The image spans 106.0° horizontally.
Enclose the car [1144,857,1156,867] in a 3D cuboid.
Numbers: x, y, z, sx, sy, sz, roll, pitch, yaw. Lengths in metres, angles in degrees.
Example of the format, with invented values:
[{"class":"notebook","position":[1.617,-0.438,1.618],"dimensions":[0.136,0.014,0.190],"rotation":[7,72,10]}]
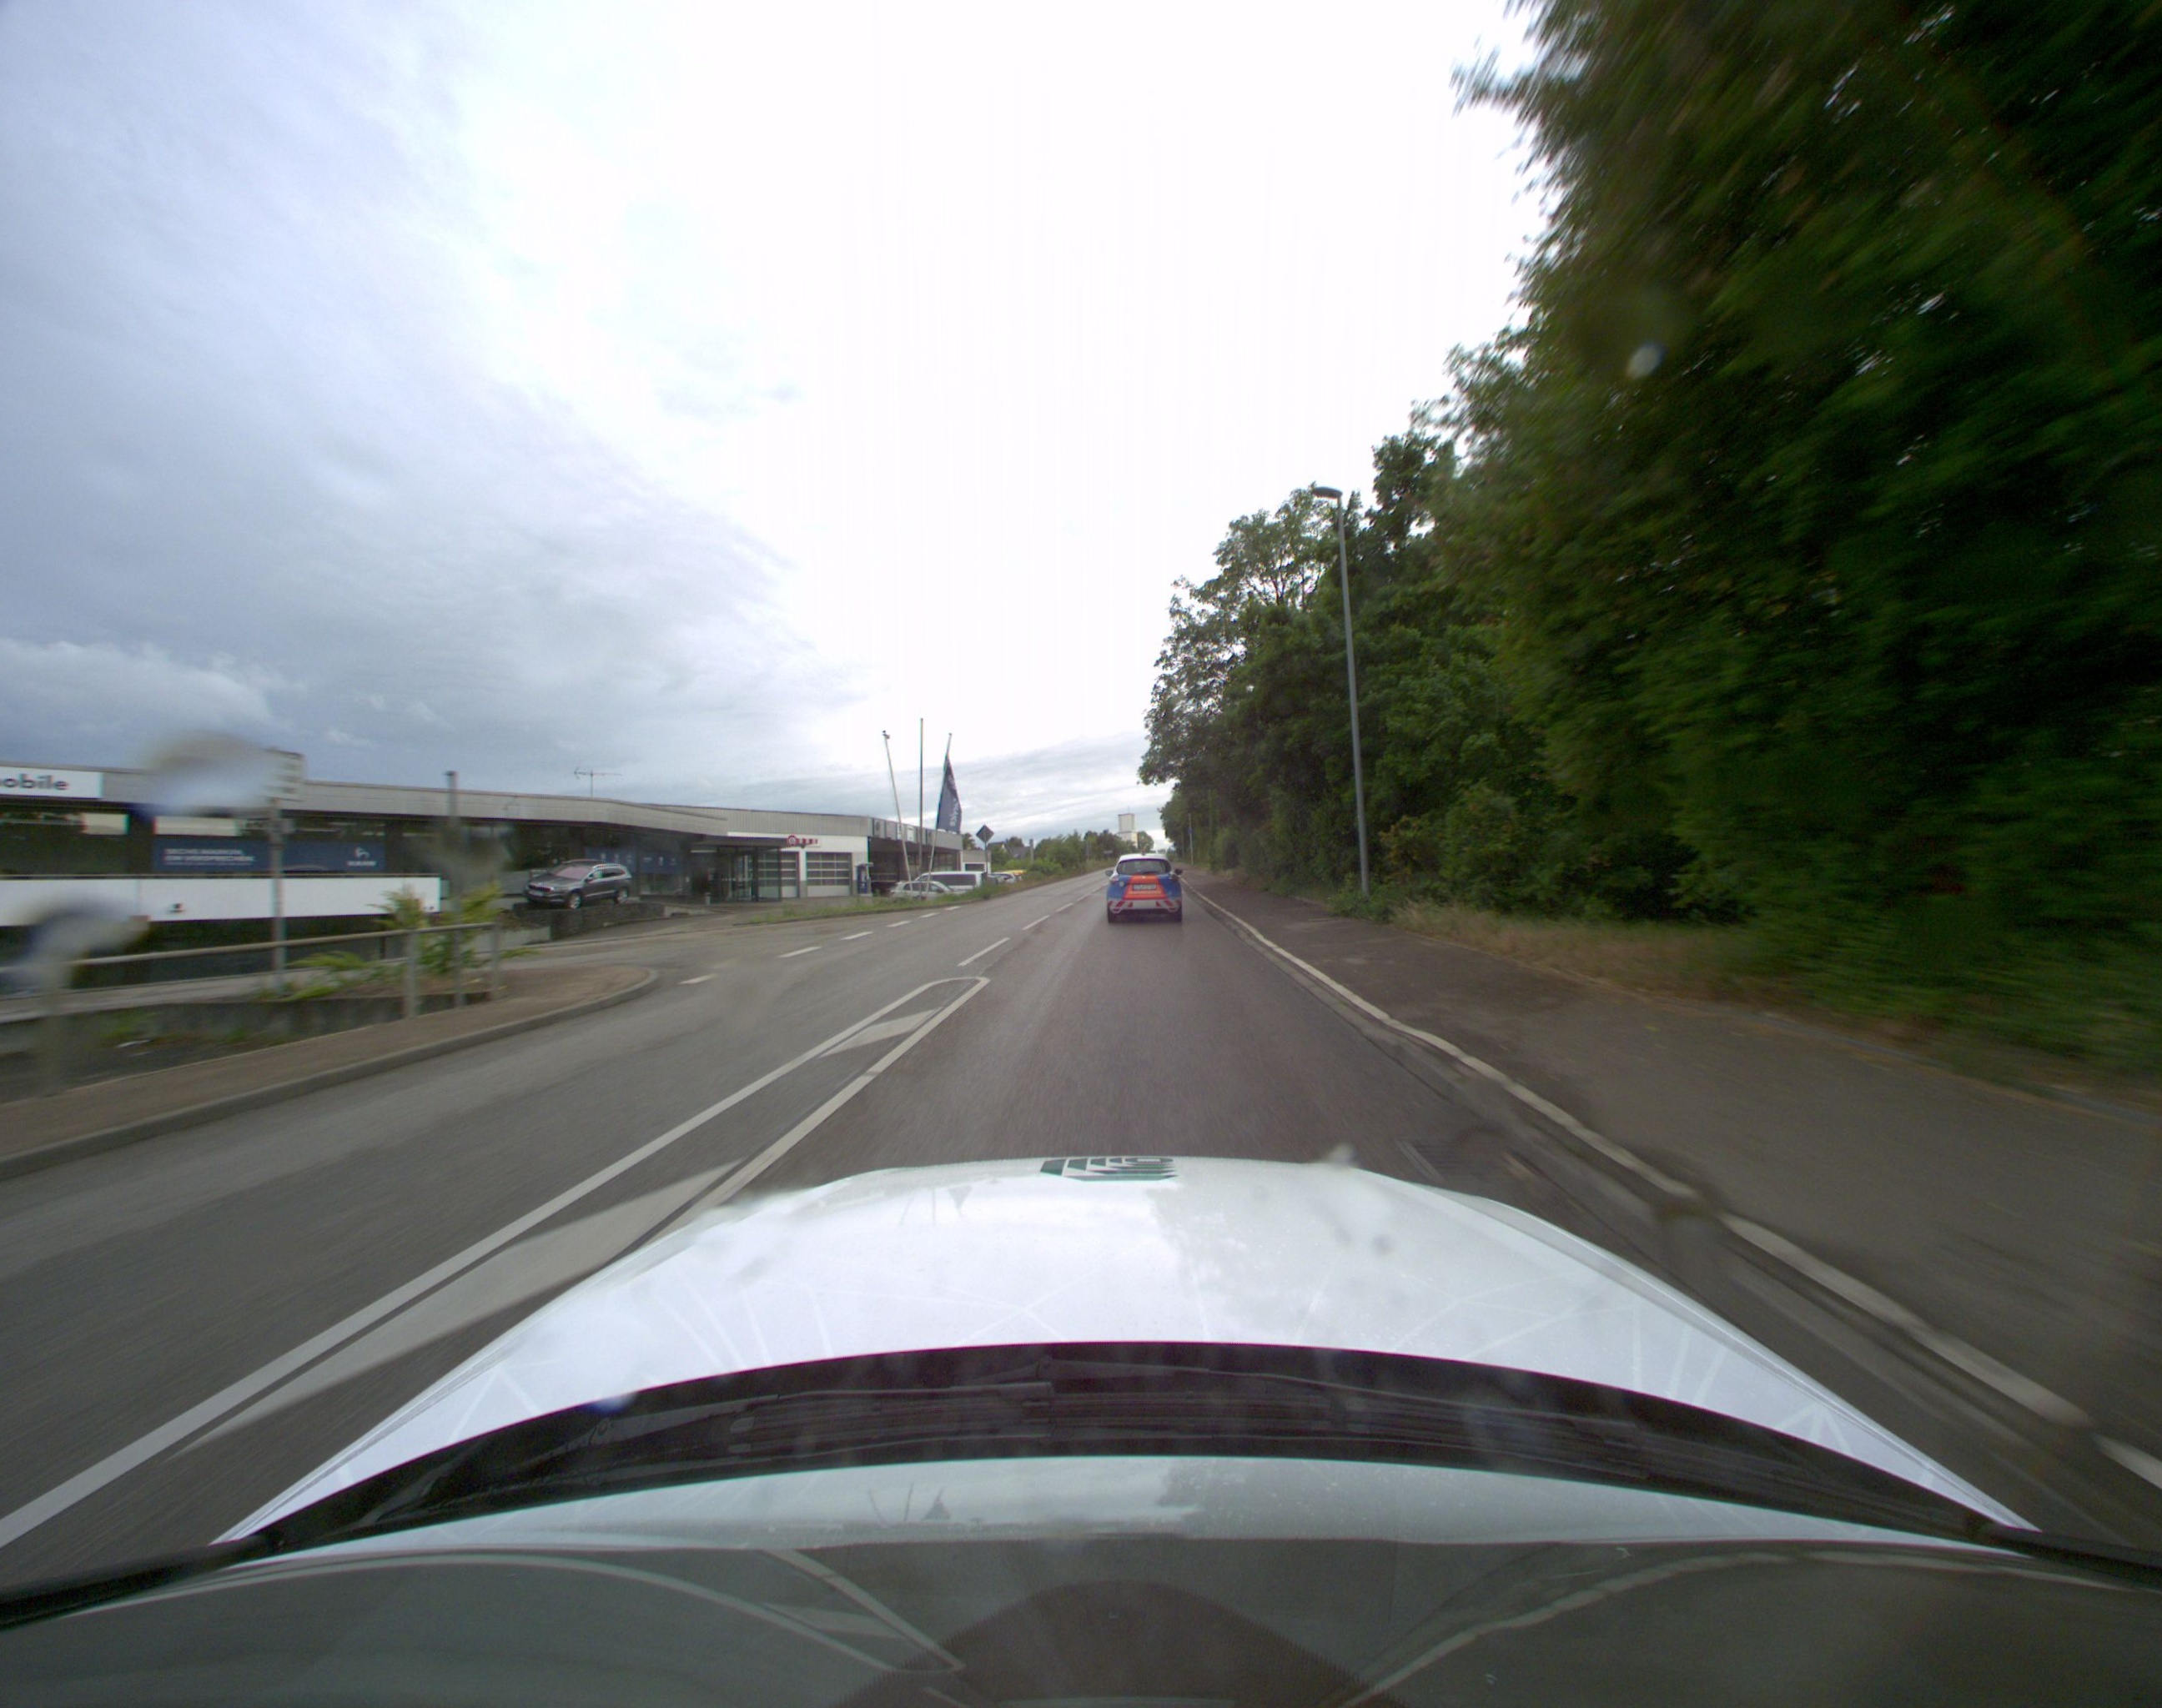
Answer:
[{"class":"car","position":[9.939,1.162,117.513],"dimensions":[1.608,1.407,3.499],"rotation":[-4,-1,3]}]

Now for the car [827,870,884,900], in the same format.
[{"class":"car","position":[-17.408,2.409,62.843],"dimensions":[4.427,1.960,2.001],"rotation":[-6,-3,40]}]

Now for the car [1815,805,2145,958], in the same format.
[{"class":"car","position":[10.053,0.239,9.111],"dimensions":[3.159,1.384,1.679],"rotation":[-3,0,-27]}]

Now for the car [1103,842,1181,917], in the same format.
[{"class":"car","position":[1.503,0.602,19.630],"dimensions":[1.649,1.593,3.573],"rotation":[-2,-1,5]}]

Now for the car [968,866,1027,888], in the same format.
[{"class":"car","position":[-6.094,1.672,59.885],"dimensions":[4.047,1.291,1.805],"rotation":[-3,0,1]}]

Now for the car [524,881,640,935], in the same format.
[{"class":"car","position":[-19.308,2.045,31.748],"dimensions":[1.392,1.800,4.260],"rotation":[-4,-1,7]}]

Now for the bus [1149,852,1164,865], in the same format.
[{"class":"bus","position":[20.909,1.293,225.591],"dimensions":[2.901,3.169,11.465],"rotation":[-4,-1,0]}]

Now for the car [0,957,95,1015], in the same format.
[{"class":"car","position":[-33.768,4.199,26.268],"dimensions":[4.052,1.428,1.902],"rotation":[-3,-1,31]}]

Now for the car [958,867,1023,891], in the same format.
[{"class":"car","position":[-6.341,1.750,57.186],"dimensions":[4.210,1.368,1.875],"rotation":[-3,0,1]}]

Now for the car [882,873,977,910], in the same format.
[{"class":"car","position":[-7.134,1.765,38.596],"dimensions":[3.992,1.478,1.825],"rotation":[-3,0,3]}]

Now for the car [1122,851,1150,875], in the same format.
[{"class":"car","position":[3.976,0.691,59.230],"dimensions":[1.796,1.590,3.563],"rotation":[-4,-1,1]}]

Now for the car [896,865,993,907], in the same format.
[{"class":"car","position":[-6.865,1.577,41.183],"dimensions":[4.393,1.798,1.936],"rotation":[-3,0,3]}]

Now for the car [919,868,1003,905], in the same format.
[{"class":"car","position":[-6.837,1.839,46.742],"dimensions":[4.396,1.798,2.003],"rotation":[-3,0,1]}]

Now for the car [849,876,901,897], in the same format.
[{"class":"car","position":[-16.269,2.551,64.254],"dimensions":[3.970,1.416,1.966],"rotation":[-3,0,39]}]
